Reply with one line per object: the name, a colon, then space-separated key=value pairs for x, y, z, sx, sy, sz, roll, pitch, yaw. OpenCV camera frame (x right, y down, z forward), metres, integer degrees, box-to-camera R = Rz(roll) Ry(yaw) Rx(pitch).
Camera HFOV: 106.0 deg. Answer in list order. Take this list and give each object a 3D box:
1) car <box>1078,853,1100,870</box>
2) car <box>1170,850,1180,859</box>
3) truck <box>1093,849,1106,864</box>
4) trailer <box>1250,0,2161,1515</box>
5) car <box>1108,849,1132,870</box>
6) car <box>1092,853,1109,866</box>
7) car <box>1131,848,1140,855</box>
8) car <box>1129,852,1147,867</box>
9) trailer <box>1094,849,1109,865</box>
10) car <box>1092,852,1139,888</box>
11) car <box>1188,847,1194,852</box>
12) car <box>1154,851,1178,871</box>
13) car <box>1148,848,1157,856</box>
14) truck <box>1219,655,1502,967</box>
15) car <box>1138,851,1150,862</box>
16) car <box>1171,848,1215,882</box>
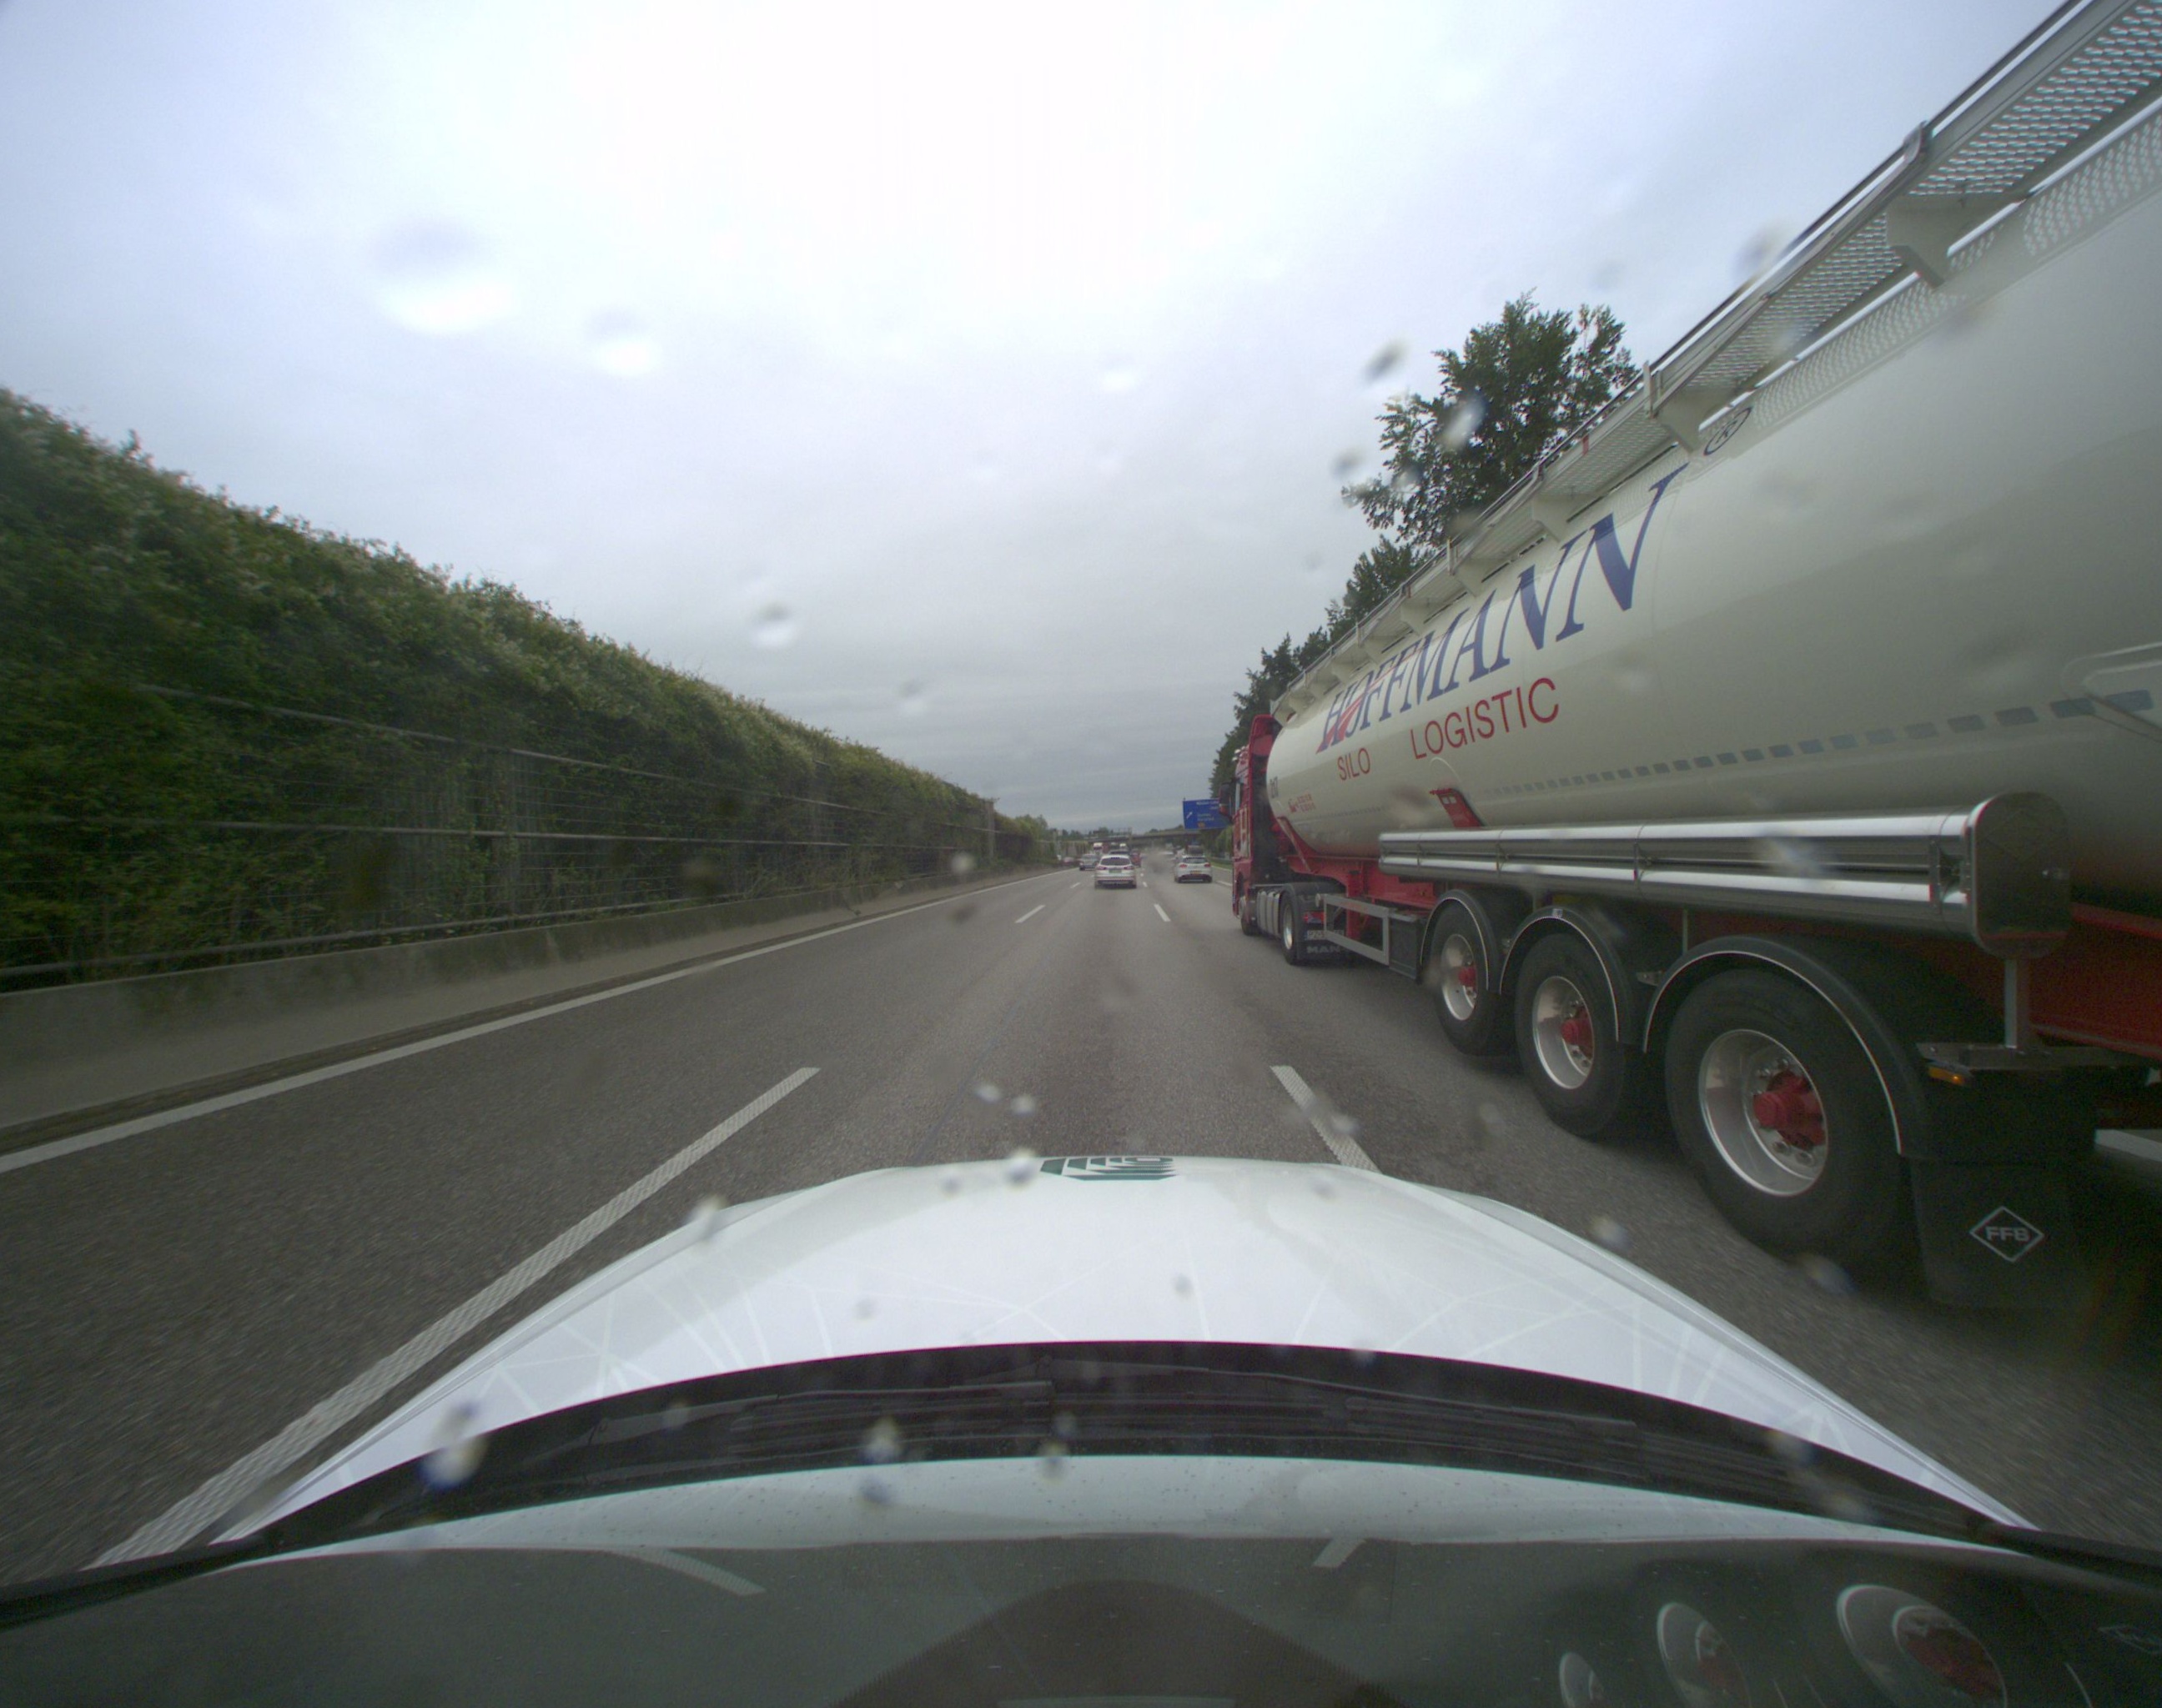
car: x=0.725 y=0.716 z=74.434 sx=1.713 sy=1.469 sz=5.034 roll=-1 pitch=-1 yaw=3
car: x=17.639 y=0.126 z=153.345 sx=1.679 sy=1.539 sz=3.881 roll=-1 pitch=0 yaw=9
truck: x=5.211 y=0.686 z=226.995 sx=2.653 sy=4.127 sz=5.930 roll=-2 pitch=0 yaw=8
trailer: x=3.863 y=-0.550 z=6.561 sx=2.658 sy=3.938 sz=13.136 roll=-1 pitch=0 yaw=2
car: x=2.992 y=0.393 z=63.072 sx=1.683 sy=1.506 sz=3.872 roll=3 pitch=1 yaw=1
car: x=2.355 y=0.646 z=96.985 sx=1.712 sy=1.512 sz=5.036 roll=-1 pitch=0 yaw=5
car: x=11.773 y=-0.578 z=175.146 sx=1.679 sy=1.422 sz=3.880 roll=-1 pitch=0 yaw=7
car: x=5.937 y=0.518 z=84.192 sx=1.680 sy=1.506 sz=3.878 roll=-1 pitch=0 yaw=6
trailer: x=5.895 y=0.803 z=231.057 sx=2.653 sy=4.127 sz=13.160 roll=-2 pitch=0 yaw=8
car: x=1.489 y=0.681 z=36.712 sx=1.886 sy=1.504 sz=5.029 roll=1 pitch=0 yaw=0
car: x=30.042 y=-1.258 z=222.416 sx=1.679 sy=1.422 sz=3.880 roll=-1 pitch=0 yaw=7
car: x=6.467 y=0.545 z=62.395 sx=1.681 sy=1.506 sz=3.875 roll=-1 pitch=-1 yaw=4
car: x=15.522 y=-0.416 z=176.234 sx=1.683 sy=1.539 sz=3.872 roll=-1 pitch=0 yaw=1
truck: x=4.112 y=-0.544 z=13.650 sx=2.684 sy=3.912 sz=6.560 roll=-1 pitch=0 yaw=3
car: x=10.984 y=0.459 z=141.354 sx=1.779 sy=1.779 sz=3.881 roll=-2 pitch=-1 yaw=9
car: x=5.708 y=0.534 z=41.958 sx=1.808 sy=1.625 sz=5.034 roll=0 pitch=0 yaw=3
